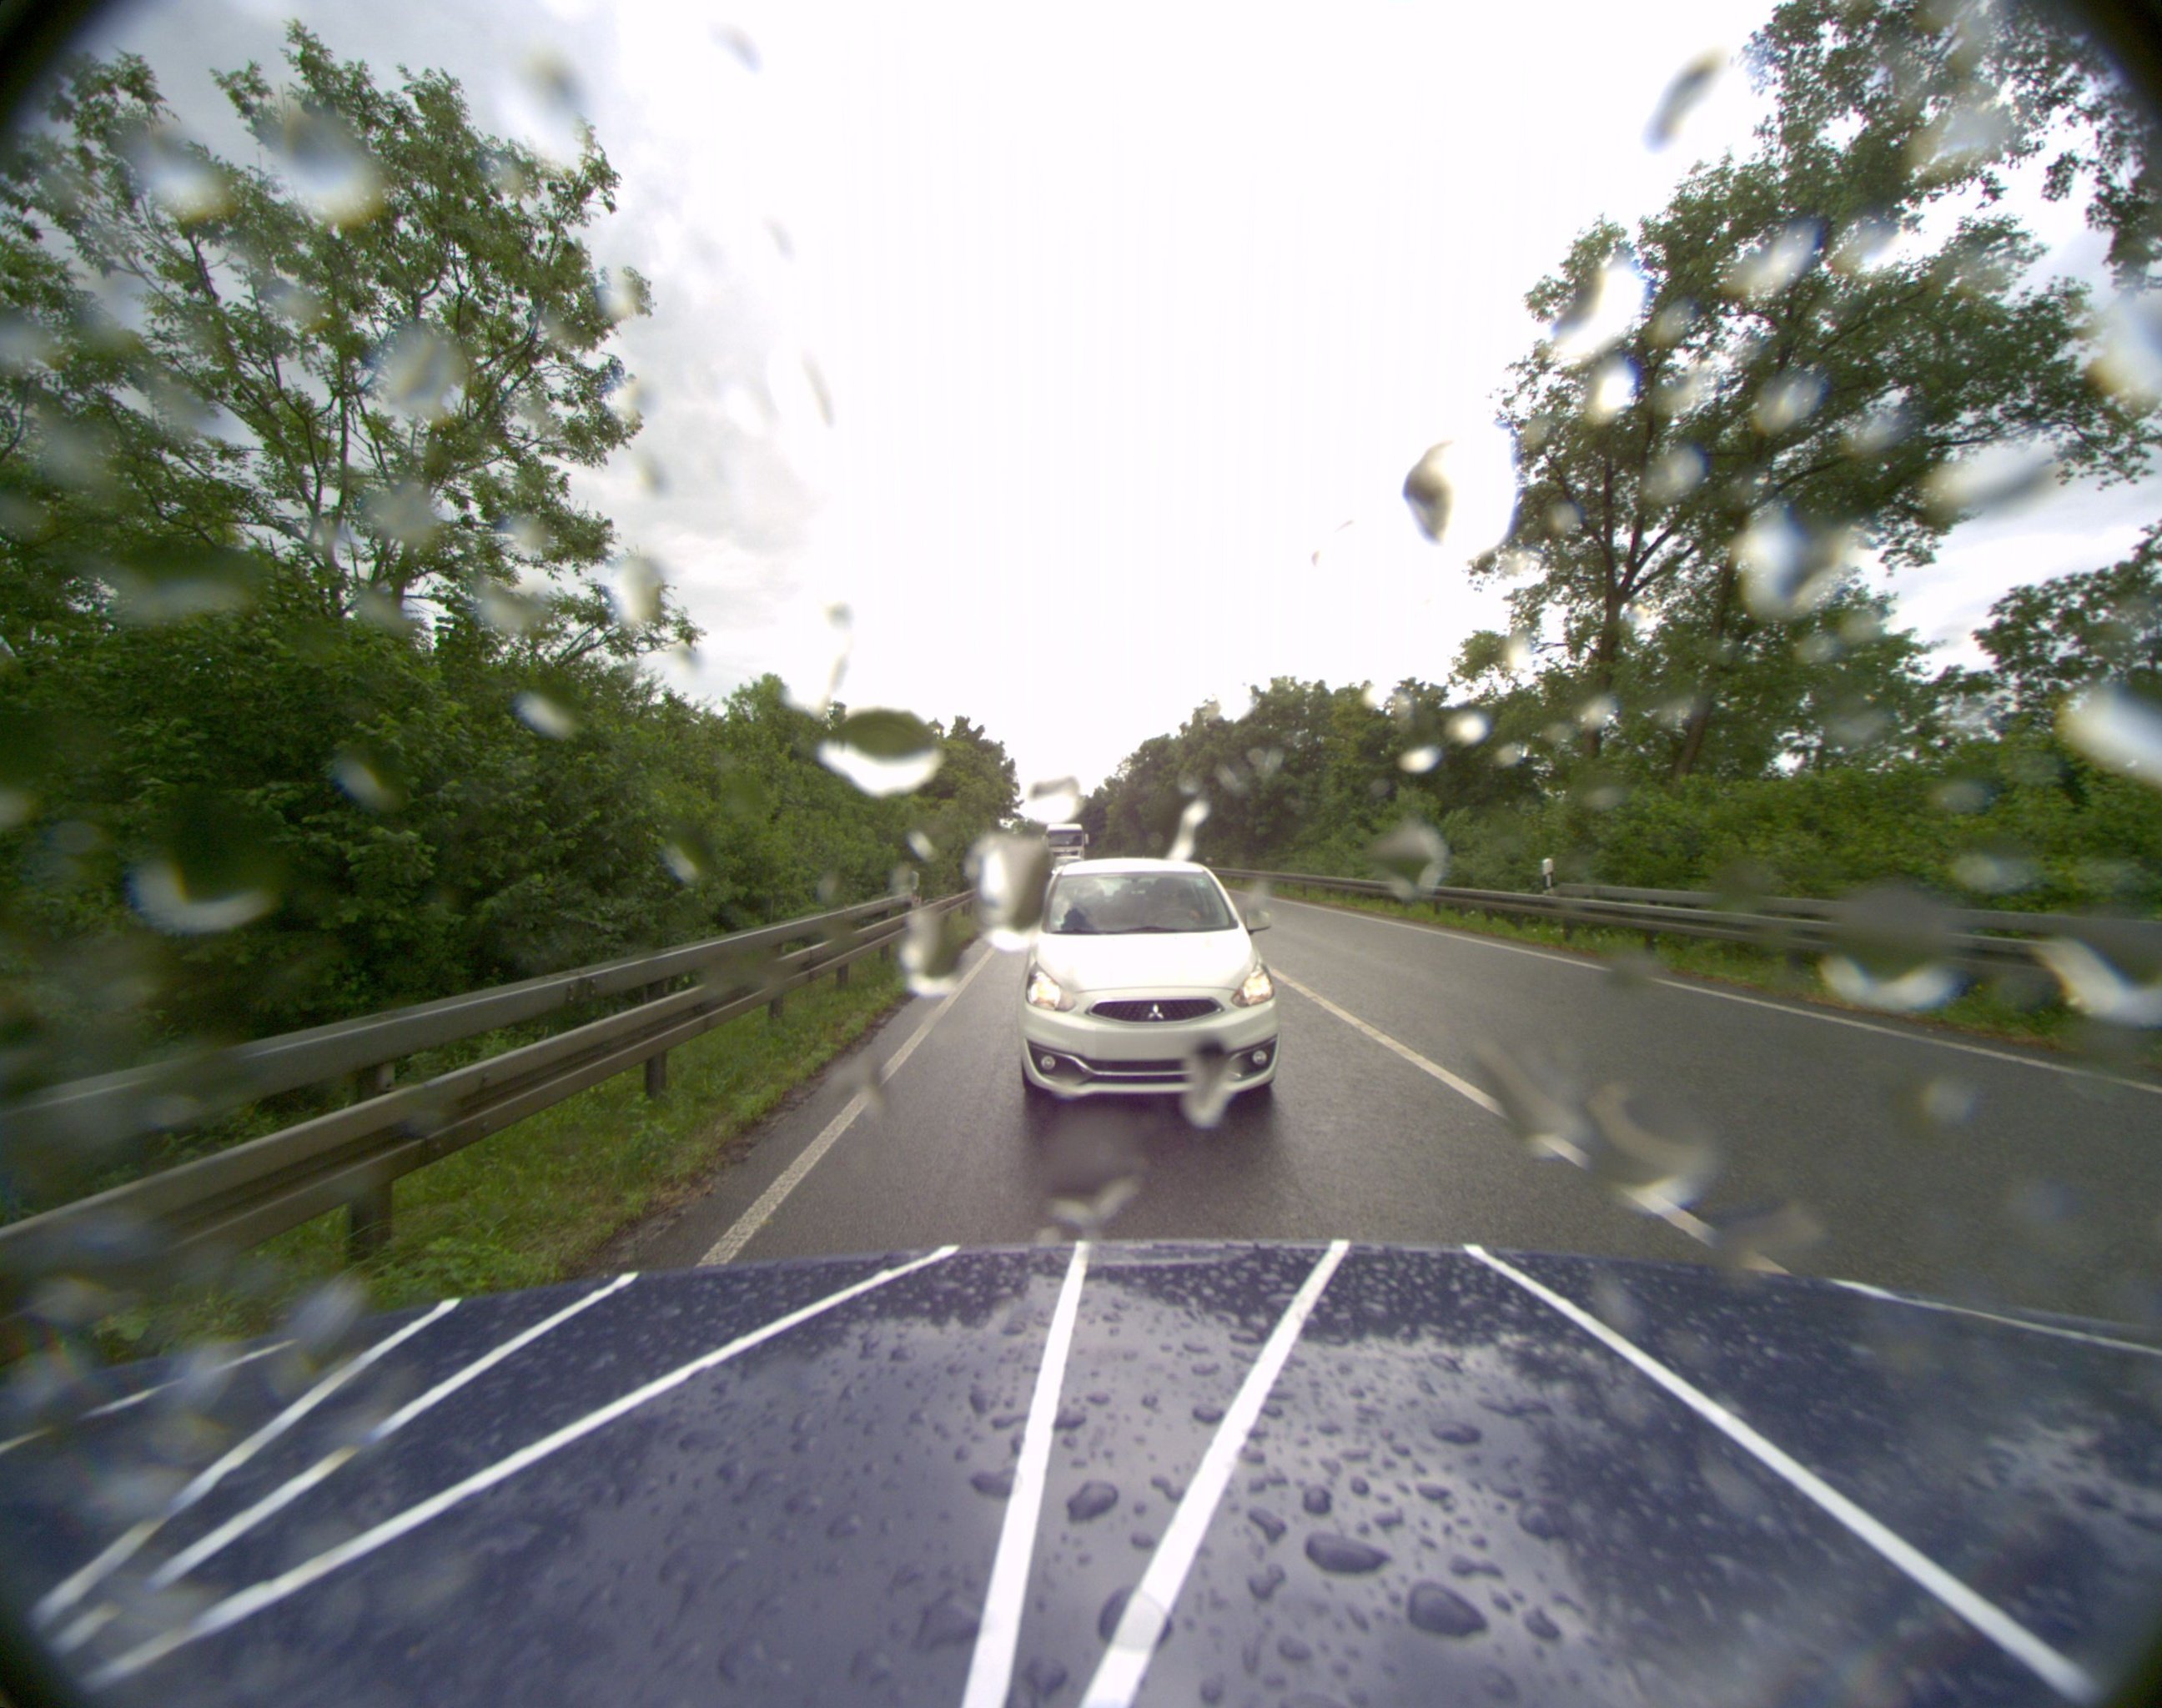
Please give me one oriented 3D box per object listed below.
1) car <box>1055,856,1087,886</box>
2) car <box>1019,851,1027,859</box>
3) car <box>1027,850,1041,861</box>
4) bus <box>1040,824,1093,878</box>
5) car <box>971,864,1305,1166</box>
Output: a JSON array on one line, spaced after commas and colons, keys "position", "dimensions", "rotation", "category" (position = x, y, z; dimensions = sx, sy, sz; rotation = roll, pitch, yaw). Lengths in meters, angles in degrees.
[{"position": [-0.484, 0.826, 37.831], "dimensions": [1.476, 1.410, 3.428], "rotation": [-1, -1, -1], "category": "car"}, {"position": [-12.919, 0.265, 169.001], "dimensions": [1.421, 1.611, 3.476], "rotation": [-2, 0, -8], "category": "car"}, {"position": [-8.588, 0.260, 139.045], "dimensions": [2.000, 1.936, 3.996], "rotation": [-2, 0, -10], "category": "car"}, {"position": [-1.321, -0.235, 55.628], "dimensions": [3.064, 3.405, 13.634], "rotation": [-2, 0, -4], "category": "bus"}, {"position": [0.335, 0.870, 5.990], "dimensions": [1.700, 1.471, 4.063], "rotation": [-2, 0, 1], "category": "car"}]
